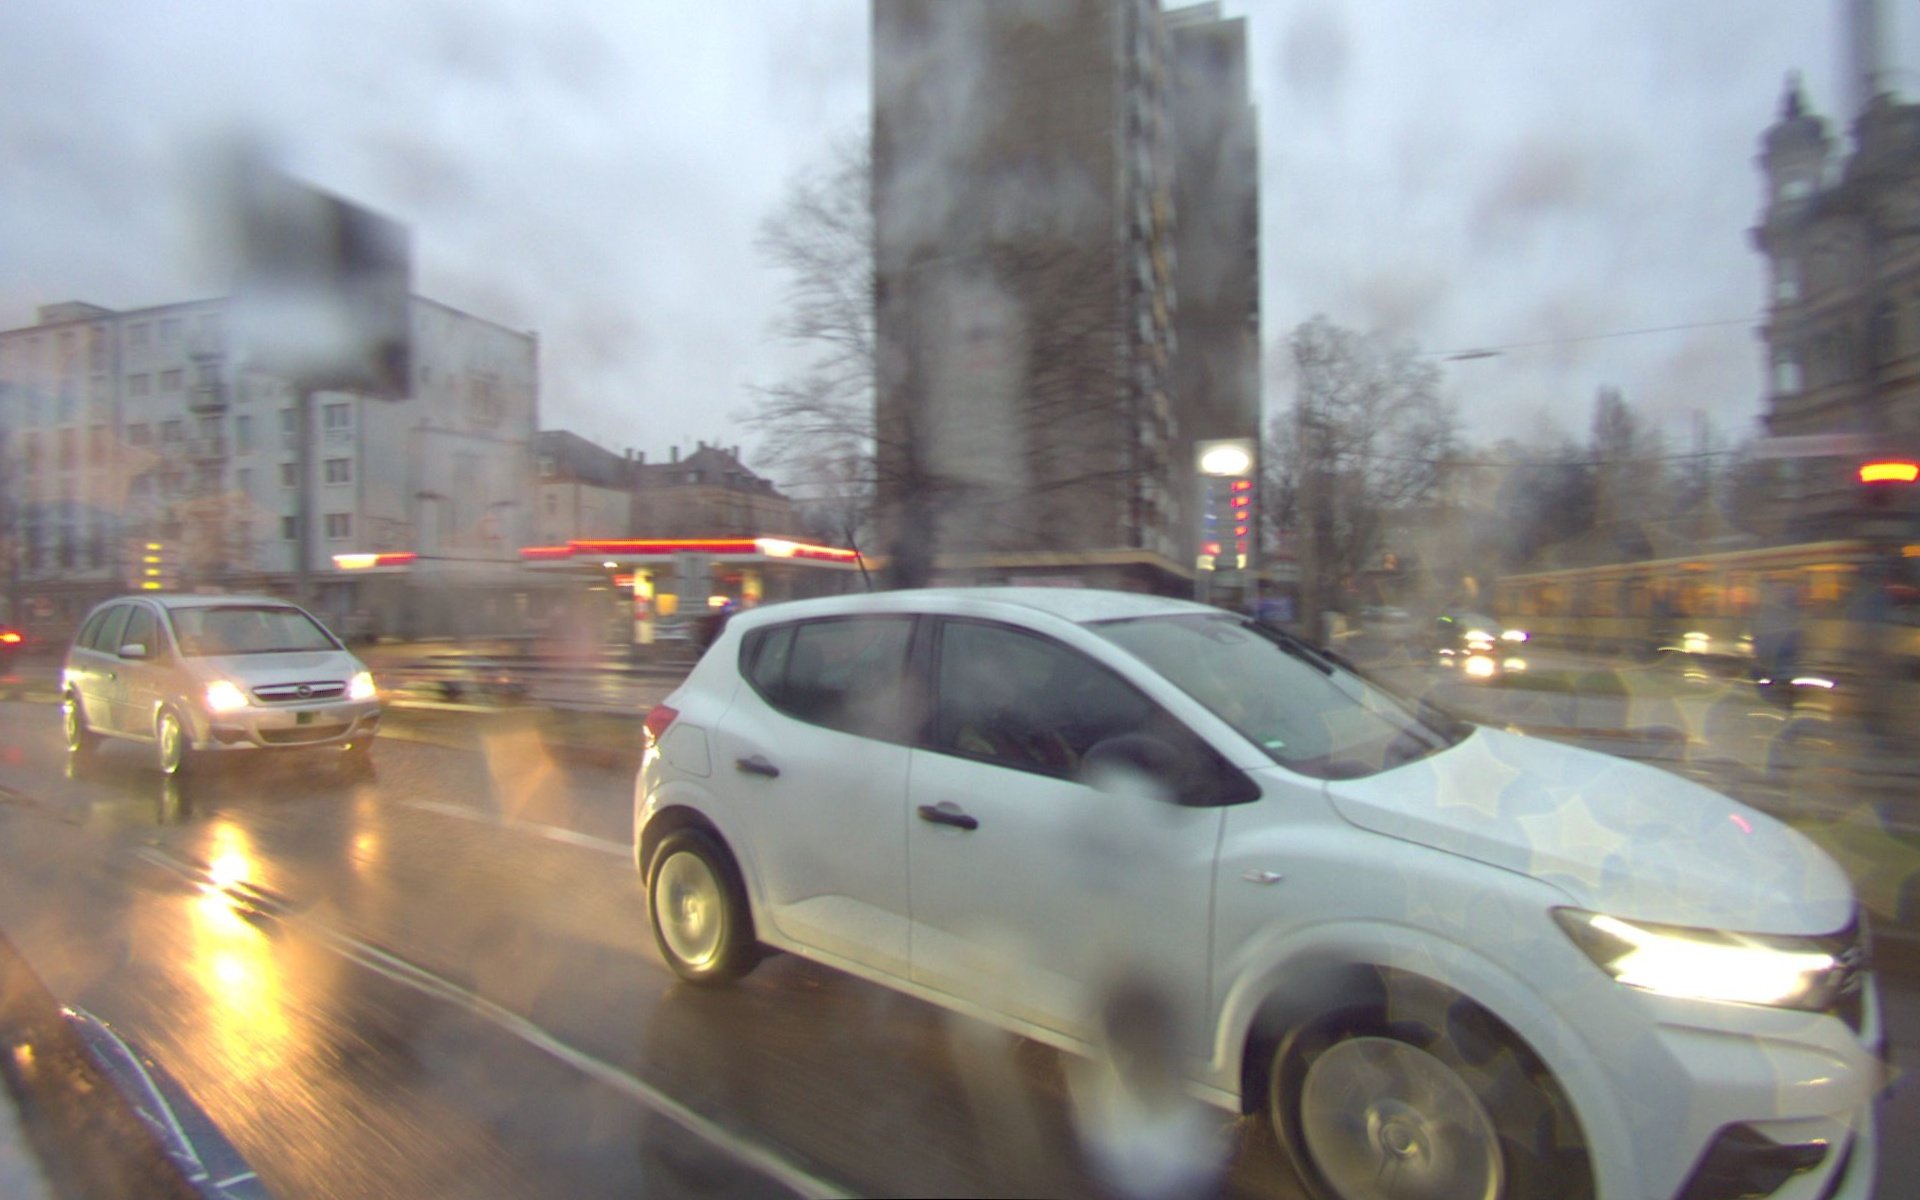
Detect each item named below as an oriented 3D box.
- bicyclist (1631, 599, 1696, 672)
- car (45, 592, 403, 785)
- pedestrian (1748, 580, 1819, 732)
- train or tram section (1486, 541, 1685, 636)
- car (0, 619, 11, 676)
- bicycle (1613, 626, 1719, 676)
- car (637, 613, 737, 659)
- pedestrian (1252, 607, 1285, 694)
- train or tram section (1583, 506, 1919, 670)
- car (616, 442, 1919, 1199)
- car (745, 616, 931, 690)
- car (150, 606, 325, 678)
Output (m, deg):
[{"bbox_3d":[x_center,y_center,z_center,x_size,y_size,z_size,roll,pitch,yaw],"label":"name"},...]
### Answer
[{"bbox_3d":[13.942,0.687,20.069,0.498,1.401,0.970,-1,-1,-7],"label":"bicyclist"},{"bbox_3d":[-7.388,0.751,10.038,4.099,1.560,1.631,-1,-1,35],"label":"car"},{"bbox_3d":[9.989,0.659,12.278,0.629,1.785,0.462,-1,-1,42],"label":"pedestrian"},{"bbox_3d":[24.730,-0.425,40.936,3.136,3.262,11.110,-1,0,12],"label":"train or tram section"},{"bbox_3d":[-29.795,1.401,29.471,4.634,1.643,1.636,-2,-2,26],"label":"car"},{"bbox_3d":[13.947,0.984,20.071,0.498,0.907,1.988,-1,0,-7],"label":"bicycle"},{"bbox_3d":[-9.792,1.267,36.631,1.763,1.542,3.981,-1,-1,15],"label":"car"},{"bbox_3d":[6.474,1.046,21.253,0.526,1.806,0.626,-1,-1,8],"label":"pedestrian"},{"bbox_3d":[22.000,-0.326,27.539,3.136,3.212,16.248,-1,0,12],"label":"train or tram section"},{"bbox_3d":[0.662,0.561,3.363,3.997,1.498,1.609,-2,-2,40],"label":"car"},{"bbox_3d":[-2.548,1.106,21.574,3.793,1.461,1.651,0,0,-3],"label":"car"},{"bbox_3d":[-21.179,1.241,29.657,4.825,1.961,1.984,-1,-3,24],"label":"car"}]
